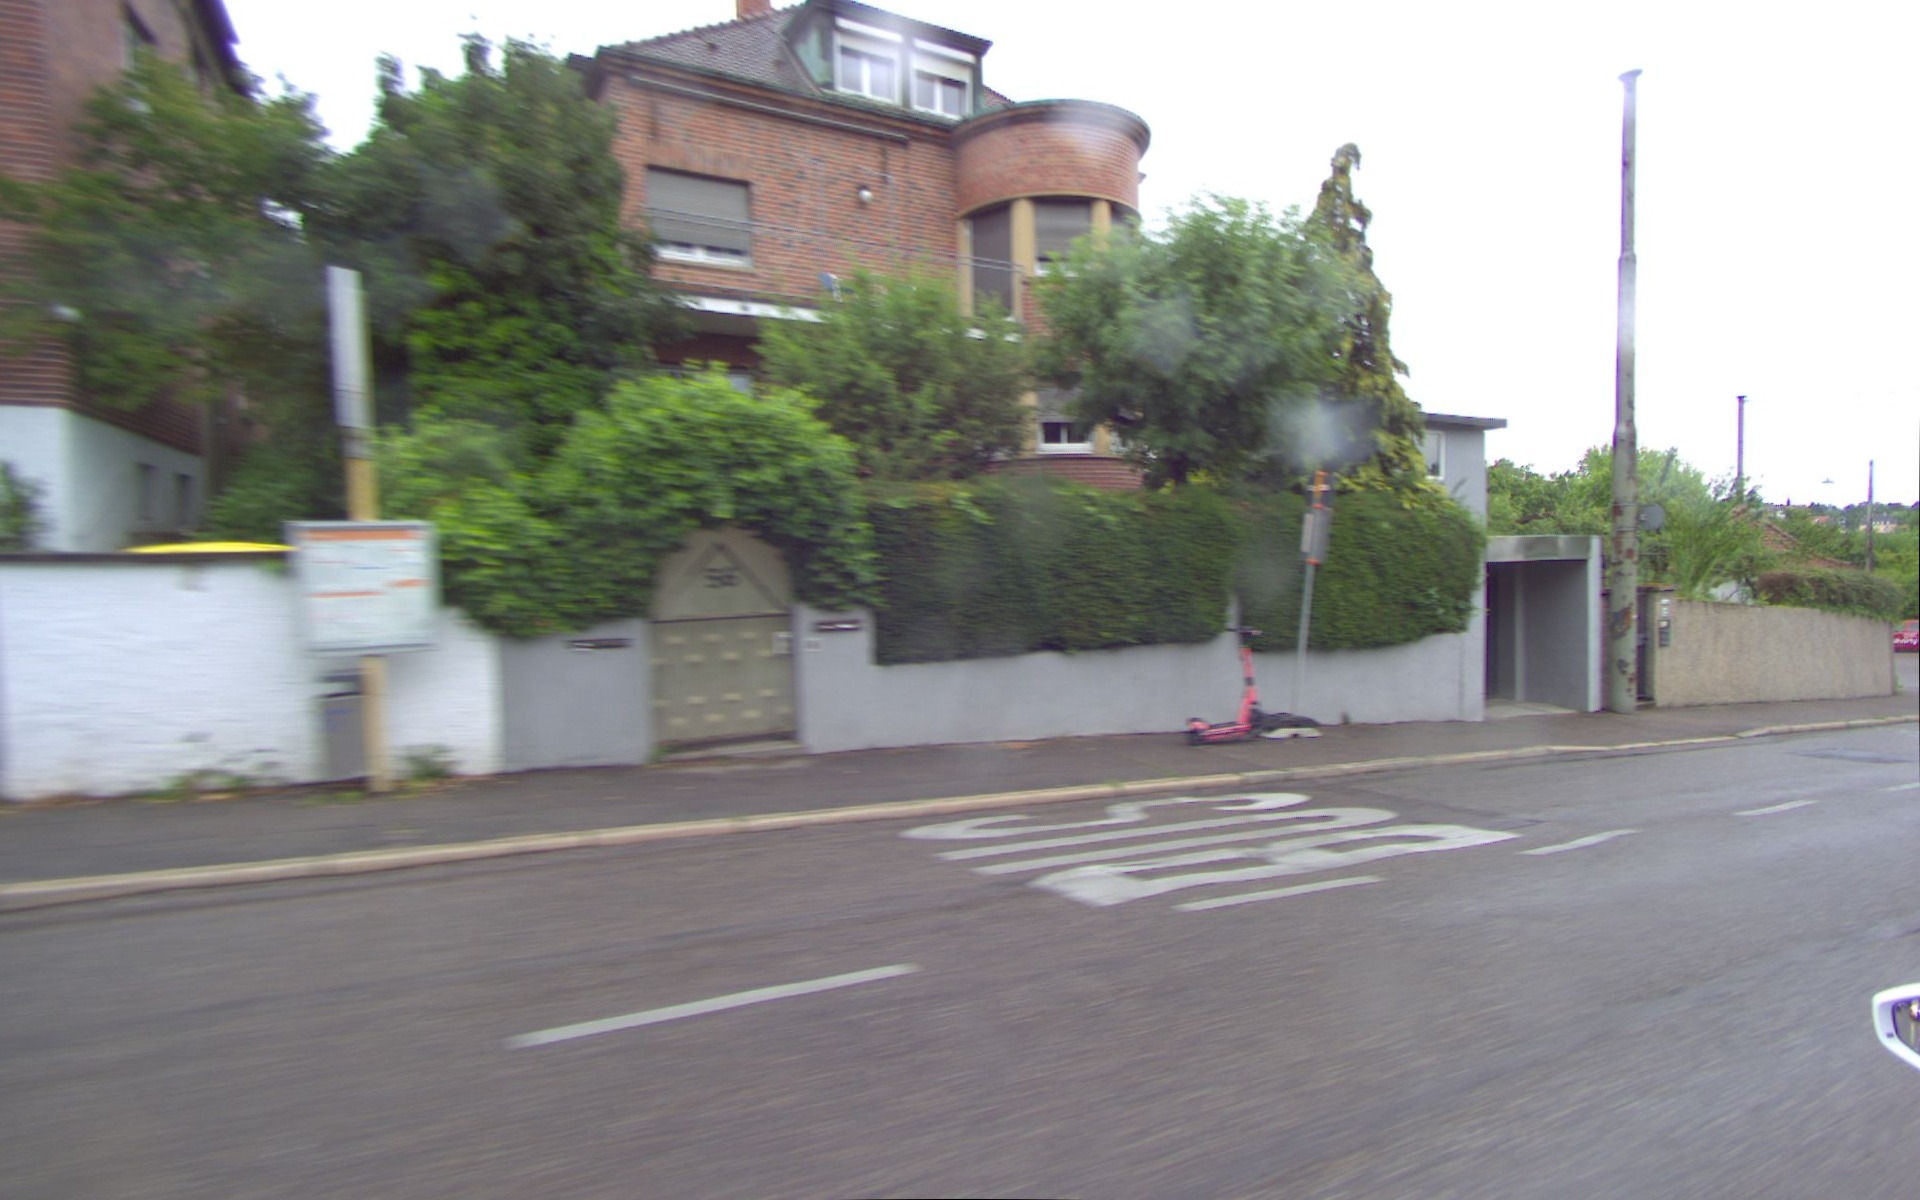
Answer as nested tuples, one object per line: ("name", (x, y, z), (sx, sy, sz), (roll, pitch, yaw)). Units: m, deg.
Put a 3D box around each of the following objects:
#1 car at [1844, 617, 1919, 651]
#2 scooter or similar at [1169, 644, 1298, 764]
("car", (45.454, 1.629, 48.516), (1.620, 1.480, 3.792), (-5, -1, -18))
("scooter or similar", (2.971, 1.090, 10.881), (1.418, 1.219, 0.520), (1, -1, -30))
